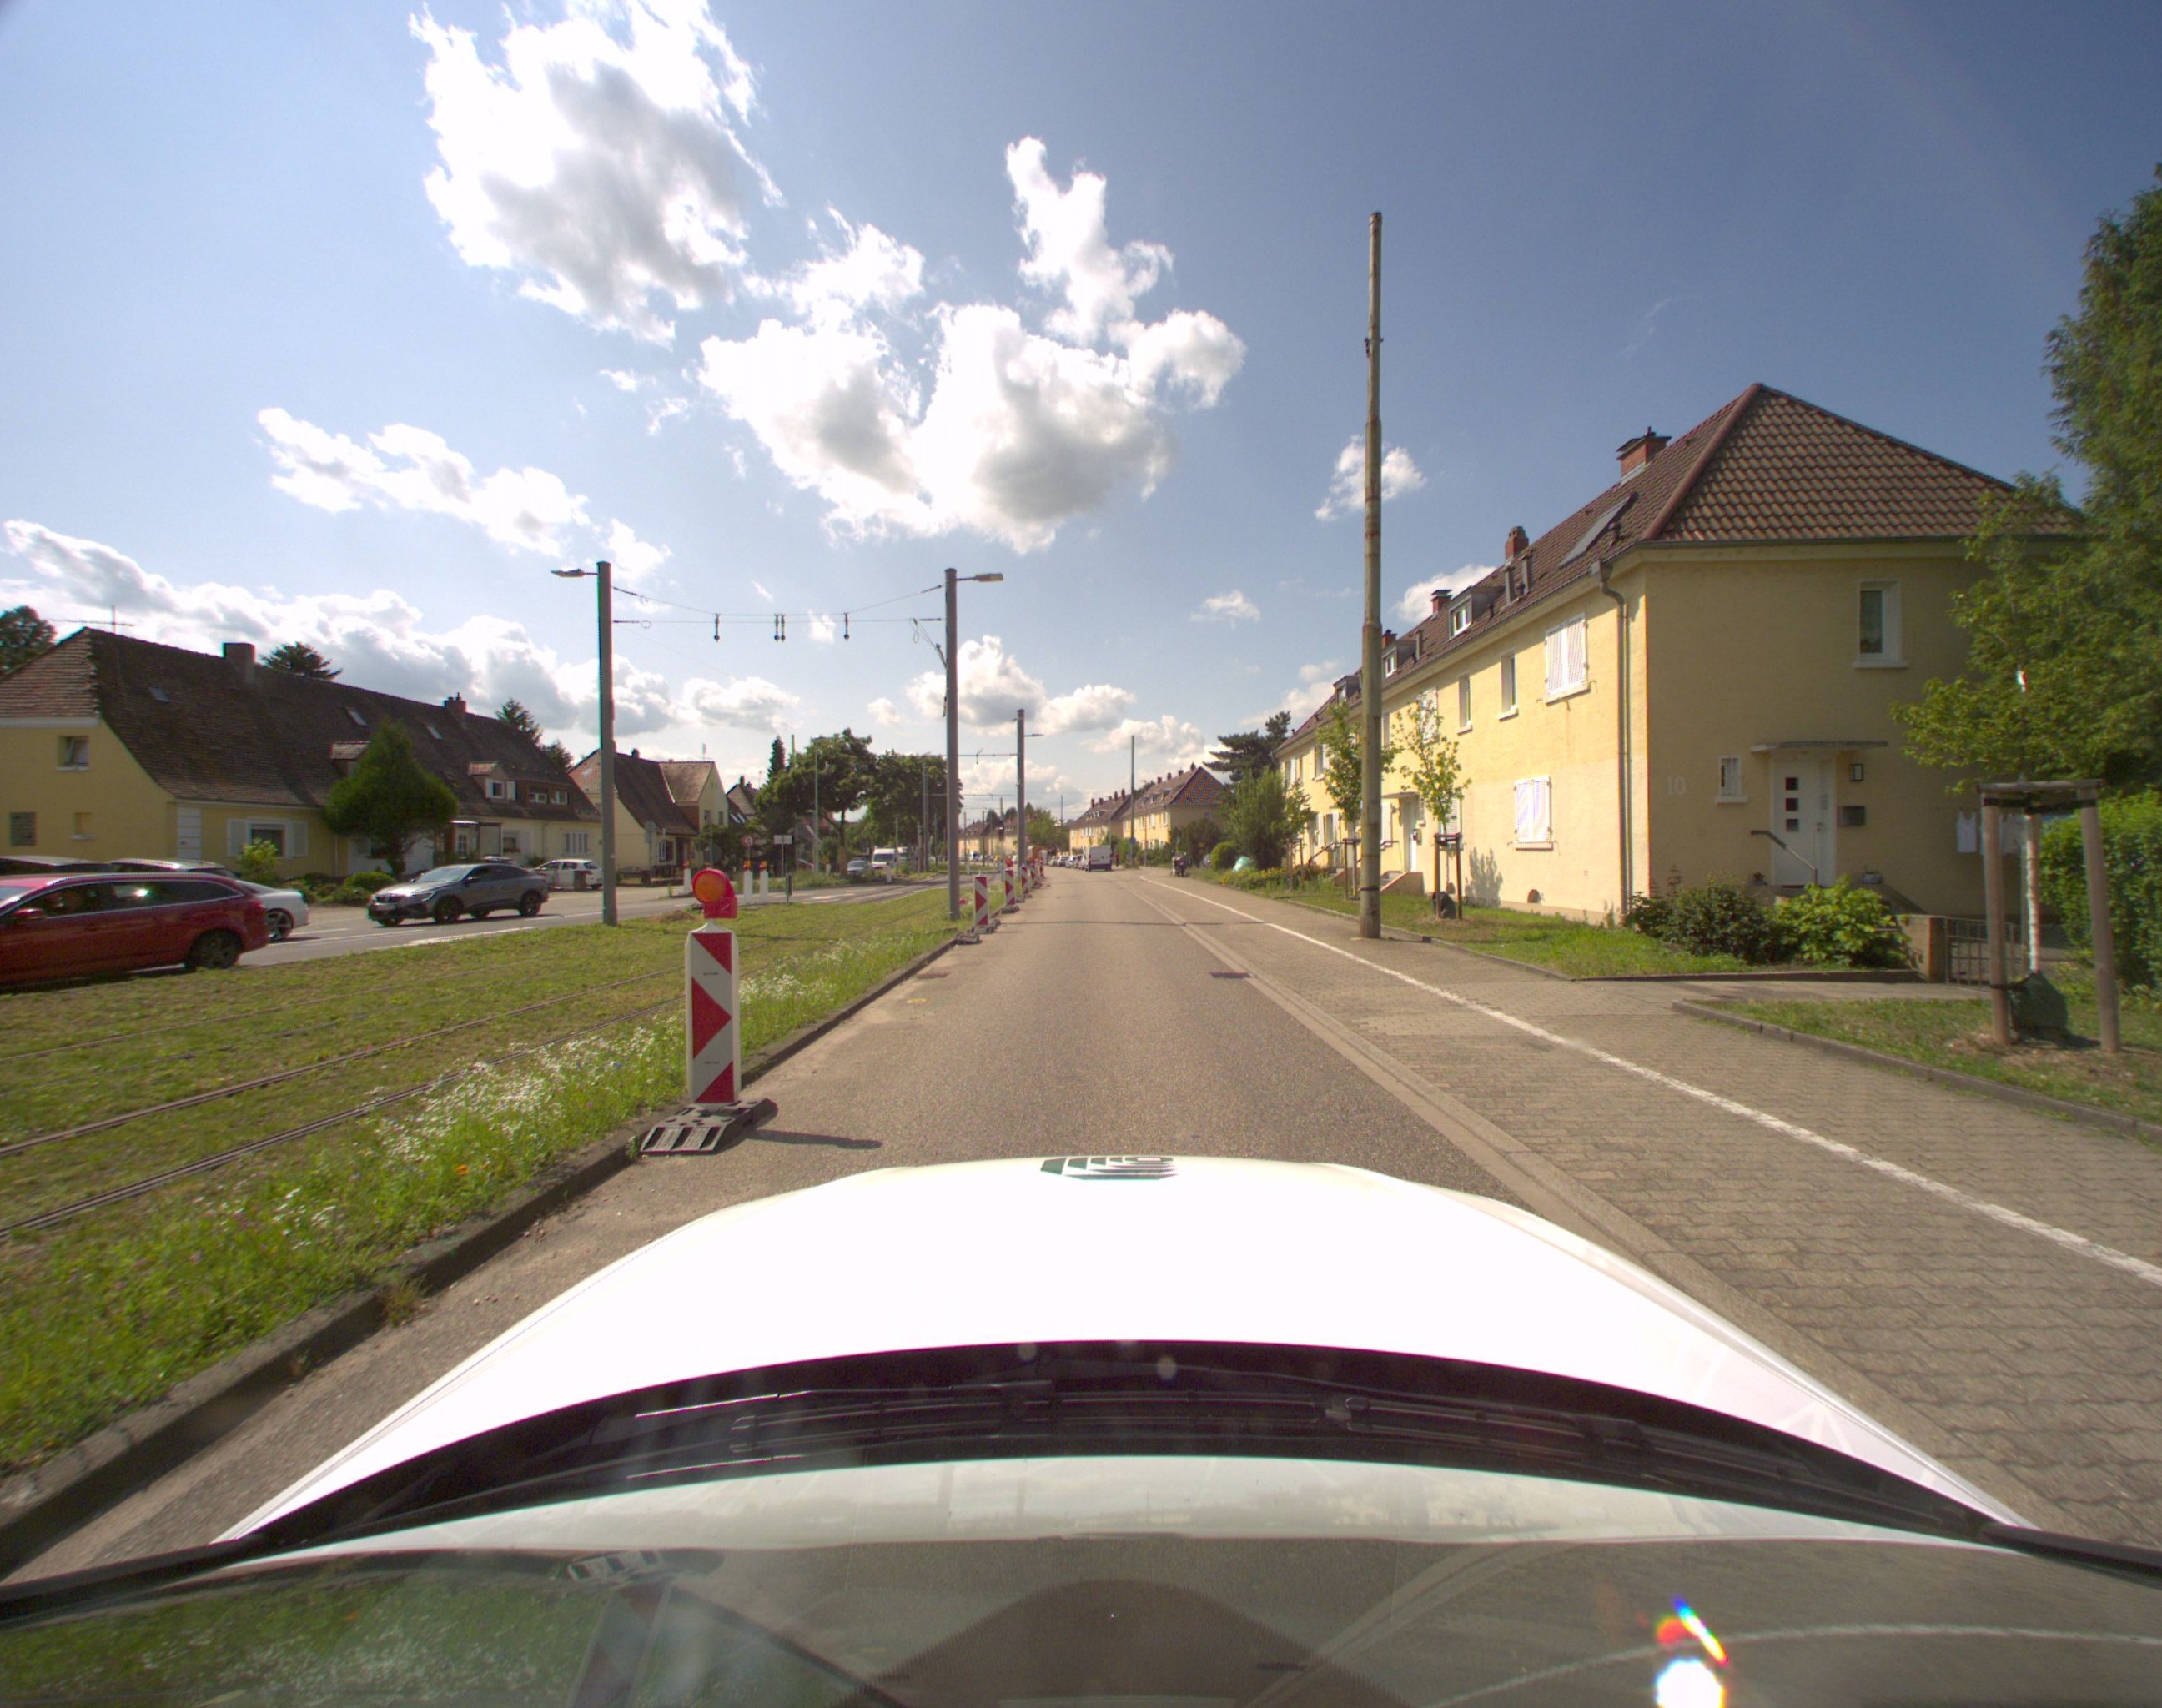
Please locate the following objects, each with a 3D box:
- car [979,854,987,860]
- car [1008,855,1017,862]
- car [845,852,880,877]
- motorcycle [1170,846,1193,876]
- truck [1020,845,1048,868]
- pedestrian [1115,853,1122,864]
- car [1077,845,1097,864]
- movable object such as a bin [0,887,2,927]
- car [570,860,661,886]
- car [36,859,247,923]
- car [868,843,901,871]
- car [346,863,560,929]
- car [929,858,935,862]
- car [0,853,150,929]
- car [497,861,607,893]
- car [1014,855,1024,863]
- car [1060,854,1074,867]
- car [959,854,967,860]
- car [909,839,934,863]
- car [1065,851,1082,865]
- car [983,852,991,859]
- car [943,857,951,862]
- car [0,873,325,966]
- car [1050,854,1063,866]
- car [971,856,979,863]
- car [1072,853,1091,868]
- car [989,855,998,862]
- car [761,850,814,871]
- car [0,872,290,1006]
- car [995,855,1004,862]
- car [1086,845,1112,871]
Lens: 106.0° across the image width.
[{"bbox_3d":[-22.051,0.741,183.125,1.261,1.350,2.648,-1,0,-19],"label":"car"},{"bbox_3d":[-13.148,0.841,155.582,1.260,1.426,2.651,-1,0,-16],"label":"car"},{"bbox_3d":[-16.405,0.788,61.391,2.094,1.776,4.107,-1,0,-9],"label":"car"},{"bbox_3d":[5.708,0.405,46.352,1.063,1.635,2.083,-1,0,0],"label":"motorcycle"},{"bbox_3d":[-7.910,0.428,134.613,2.646,3.494,9.387,-1,0,-16],"label":"truck"},{"bbox_3d":[4.200,0.510,91.619,0.632,1.255,0.725,-1,0,-8],"label":"pedestrian"},{"bbox_3d":[0.588,0.042,81.986,1.565,1.897,3.781,-1,0,-6],"label":"car"},{"bbox_3d":[-25.272,1.228,18.500,0.692,0.933,0.606,-1,0,-2],"label":"movable object such as a bin"},{"bbox_3d":[-25.461,1.028,44.595,3.974,1.398,1.704,0,0,0],"label":"car"},{"bbox_3d":[-26.646,1.022,23.205,3.941,1.491,1.603,4,0,-2],"label":"car"},{"bbox_3d":[-17.558,0.261,72.939,2.406,2.338,4.863,-1,0,-9],"label":"car"},{"bbox_3d":[-16.962,1.065,22.389,1.834,1.534,4.747,-1,0,6],"label":"car"},{"bbox_3d":[-42.242,1.776,231.441,1.261,1.186,2.649,-1,0,-18],"label":"car"},{"bbox_3d":[-25.887,0.892,20.273,3.375,1.594,1.603,4,0,-1],"label":"car"},{"bbox_3d":[-25.998,1.112,40.122,4.093,1.466,1.991,-1,0,0],"label":"car"},{"bbox_3d":[-11.208,0.827,146.926,1.260,1.426,2.651,-1,0,-16],"label":"car"},{"bbox_3d":[-1.812,0.826,104.684,1.565,1.551,3.471,-1,0,-6],"label":"car"},{"bbox_3d":[-29.294,0.734,202.187,1.262,1.426,2.647,-1,0,-21],"label":"car"},{"bbox_3d":[-16.658,-0.360,85.214,2.406,2.370,4.864,-1,0,-9],"label":"car"},{"bbox_3d":[-0.861,0.484,92.617,1.565,1.551,3.781,-1,0,-6],"label":"car"},{"bbox_3d":[-20.673,0.365,179.253,1.261,1.350,2.648,-1,0,-19],"label":"car"},{"bbox_3d":[-35.479,1.523,216.101,1.264,1.426,2.642,-1,0,-27],"label":"car"},{"bbox_3d":[-17.397,1.110,15.258,1.836,1.343,4.781,-1,0,3],"label":"car"},{"bbox_3d":[-3.314,0.850,111.079,1.565,1.551,3.471,-1,0,-6],"label":"car"},{"bbox_3d":[-24.327,1.244,187.290,1.170,1.426,2.647,-1,0,-20],"label":"car"},{"bbox_3d":[0.029,0.714,86.879,1.565,1.551,3.781,-1,0,-6],"label":"car"},{"bbox_3d":[-18.557,0.927,173.285,1.261,1.426,2.648,-1,0,-19],"label":"car"},{"bbox_3d":[-26.749,0.575,74.402,4.098,1.776,2.099,-1,0,-3],"label":"car"},{"bbox_3d":[-13.612,1.054,10.585,1.837,1.494,4.857,-1,0,1],"label":"car"},{"bbox_3d":[-16.685,0.915,167.316,1.260,1.426,2.650,-1,0,-17],"label":"car"},{"bbox_3d":[1.538,0.341,72.389,2.060,2.149,4.875,-1,0,-2],"label":"car"}]
